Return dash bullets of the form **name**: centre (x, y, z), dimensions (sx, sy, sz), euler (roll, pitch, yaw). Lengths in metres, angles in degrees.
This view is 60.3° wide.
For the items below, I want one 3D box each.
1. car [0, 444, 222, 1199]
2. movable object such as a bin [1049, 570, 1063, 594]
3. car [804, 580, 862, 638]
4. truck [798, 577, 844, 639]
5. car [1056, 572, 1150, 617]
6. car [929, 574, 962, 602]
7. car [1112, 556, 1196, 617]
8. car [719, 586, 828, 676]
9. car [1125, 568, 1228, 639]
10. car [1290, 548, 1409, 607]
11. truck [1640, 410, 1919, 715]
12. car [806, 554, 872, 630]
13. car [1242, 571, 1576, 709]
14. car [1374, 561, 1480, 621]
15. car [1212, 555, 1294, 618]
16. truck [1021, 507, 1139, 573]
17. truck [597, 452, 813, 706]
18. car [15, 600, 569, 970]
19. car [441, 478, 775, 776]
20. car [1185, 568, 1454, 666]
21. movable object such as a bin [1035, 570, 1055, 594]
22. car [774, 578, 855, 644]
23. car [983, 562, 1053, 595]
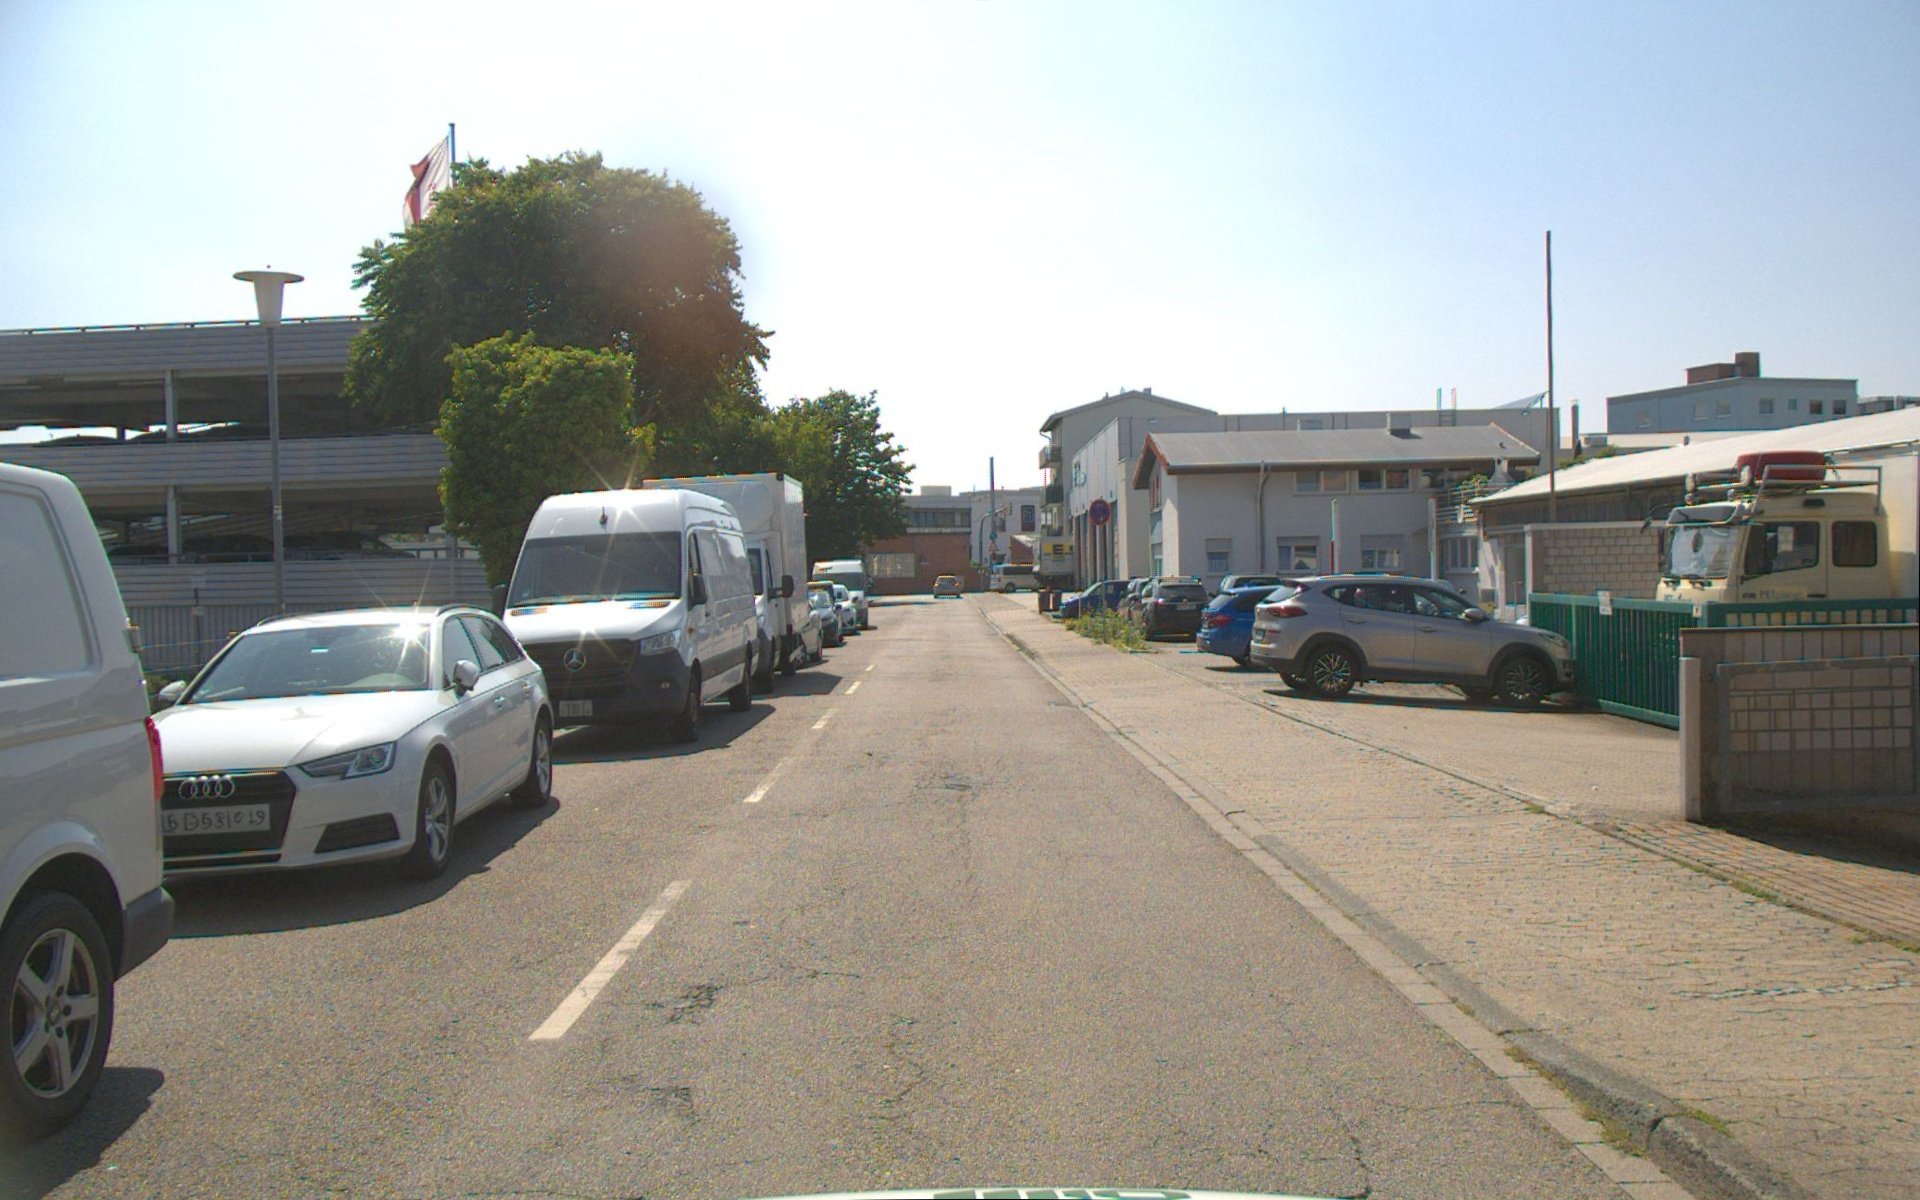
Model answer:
- **car**: centre (-3.492, 0.691, 3.009), dimensions (1.931, 2.048, 5.056), euler (-4, 1, 0)
- **movable object such as a bin**: centre (3.926, -0.742, 67.654), dimensions (0.502, 0.962, 0.488), euler (-3, 2, 11)
- **car**: centre (-4.051, 0.248, 52.620), dimensions (1.672, 1.652, 3.969), euler (-4, 1, -5)
- **truck**: centre (-4.093, 0.220, 49.010), dimensions (1.116, 1.650, 3.140), euler (-4, 2, -3)
- **car**: centre (5.137, -0.218, 59.671), dimensions (3.187, 1.423, 1.673), euler (-3, 2, 0)
- **car**: centre (-1.008, -0.789, 112.156), dimensions (1.854, 1.714, 3.954), euler (-4, 0, -4)
- **car**: centre (5.549, -0.437, 47.785), dimensions (1.775, 1.585, 4.292), euler (-3, 2, -1)
- **car**: centre (-3.686, 0.567, 33.302), dimensions (1.706, 1.547, 4.310), euler (-3, 2, -1)
- **car**: centre (5.460, 0.036, 42.237), dimensions (1.821, 1.595, 4.951), euler (-3, 2, -1)
- **car**: centre (11.281, -0.663, 48.165), dimensions (1.729, 1.521, 4.138), euler (-4, 2, -11)
- **truck**: centre (12.601, -0.420, 20.369), dimensions (7.364, 3.482, 2.527), euler (1, 1, -1)
- **car**: centre (-4.175, -0.276, 57.778), dimensions (1.965, 2.407, 5.227), euler (-4, 0, -2)
- **car**: centre (6.161, 0.520, 23.000), dimensions (4.116, 1.711, 1.766), euler (2, 1, -2)
- **car**: centre (11.760, -0.268, 41.891), dimensions (1.608, 1.347, 4.102), euler (-2, 2, 2)
- **car**: centre (7.966, -0.402, 45.219), dimensions (1.723, 1.622, 3.621), euler (1, 2, 3)
- **truck**: centre (8.015, -4.050, 110.852), dimensions (7.221, 3.707, 2.764), euler (-6, 2, -7)
- **truck**: centre (-3.894, -0.338, 26.781), dimensions (2.632, 3.424, 7.125), euler (-3, 1, -3)
- **car**: centre (-3.679, 0.875, 10.050), dimensions (1.680, 1.570, 4.399), euler (-3, 1, -3)
- **car**: centre (-3.671, 0.204, 18.892), dimensions (2.124, 2.640, 6.921), euler (-4, 1, 0)
- **car**: centre (6.245, 0.271, 29.059), dimensions (4.265, 1.466, 1.892), euler (-3, 1, -2)
- **movable object such as a bin**: centre (3.446, -0.736, 67.235), dimensions (0.557, 0.962, 0.556), euler (-2, 2, 33)
- **car**: centre (-3.753, 0.238, 43.231), dimensions (1.670, 1.488, 4.114), euler (-4, 1, 0)
- **car**: centre (4.173, -1.564, 119.057), dimensions (4.586, 1.991, 1.905), euler (-4, 0, -20)
